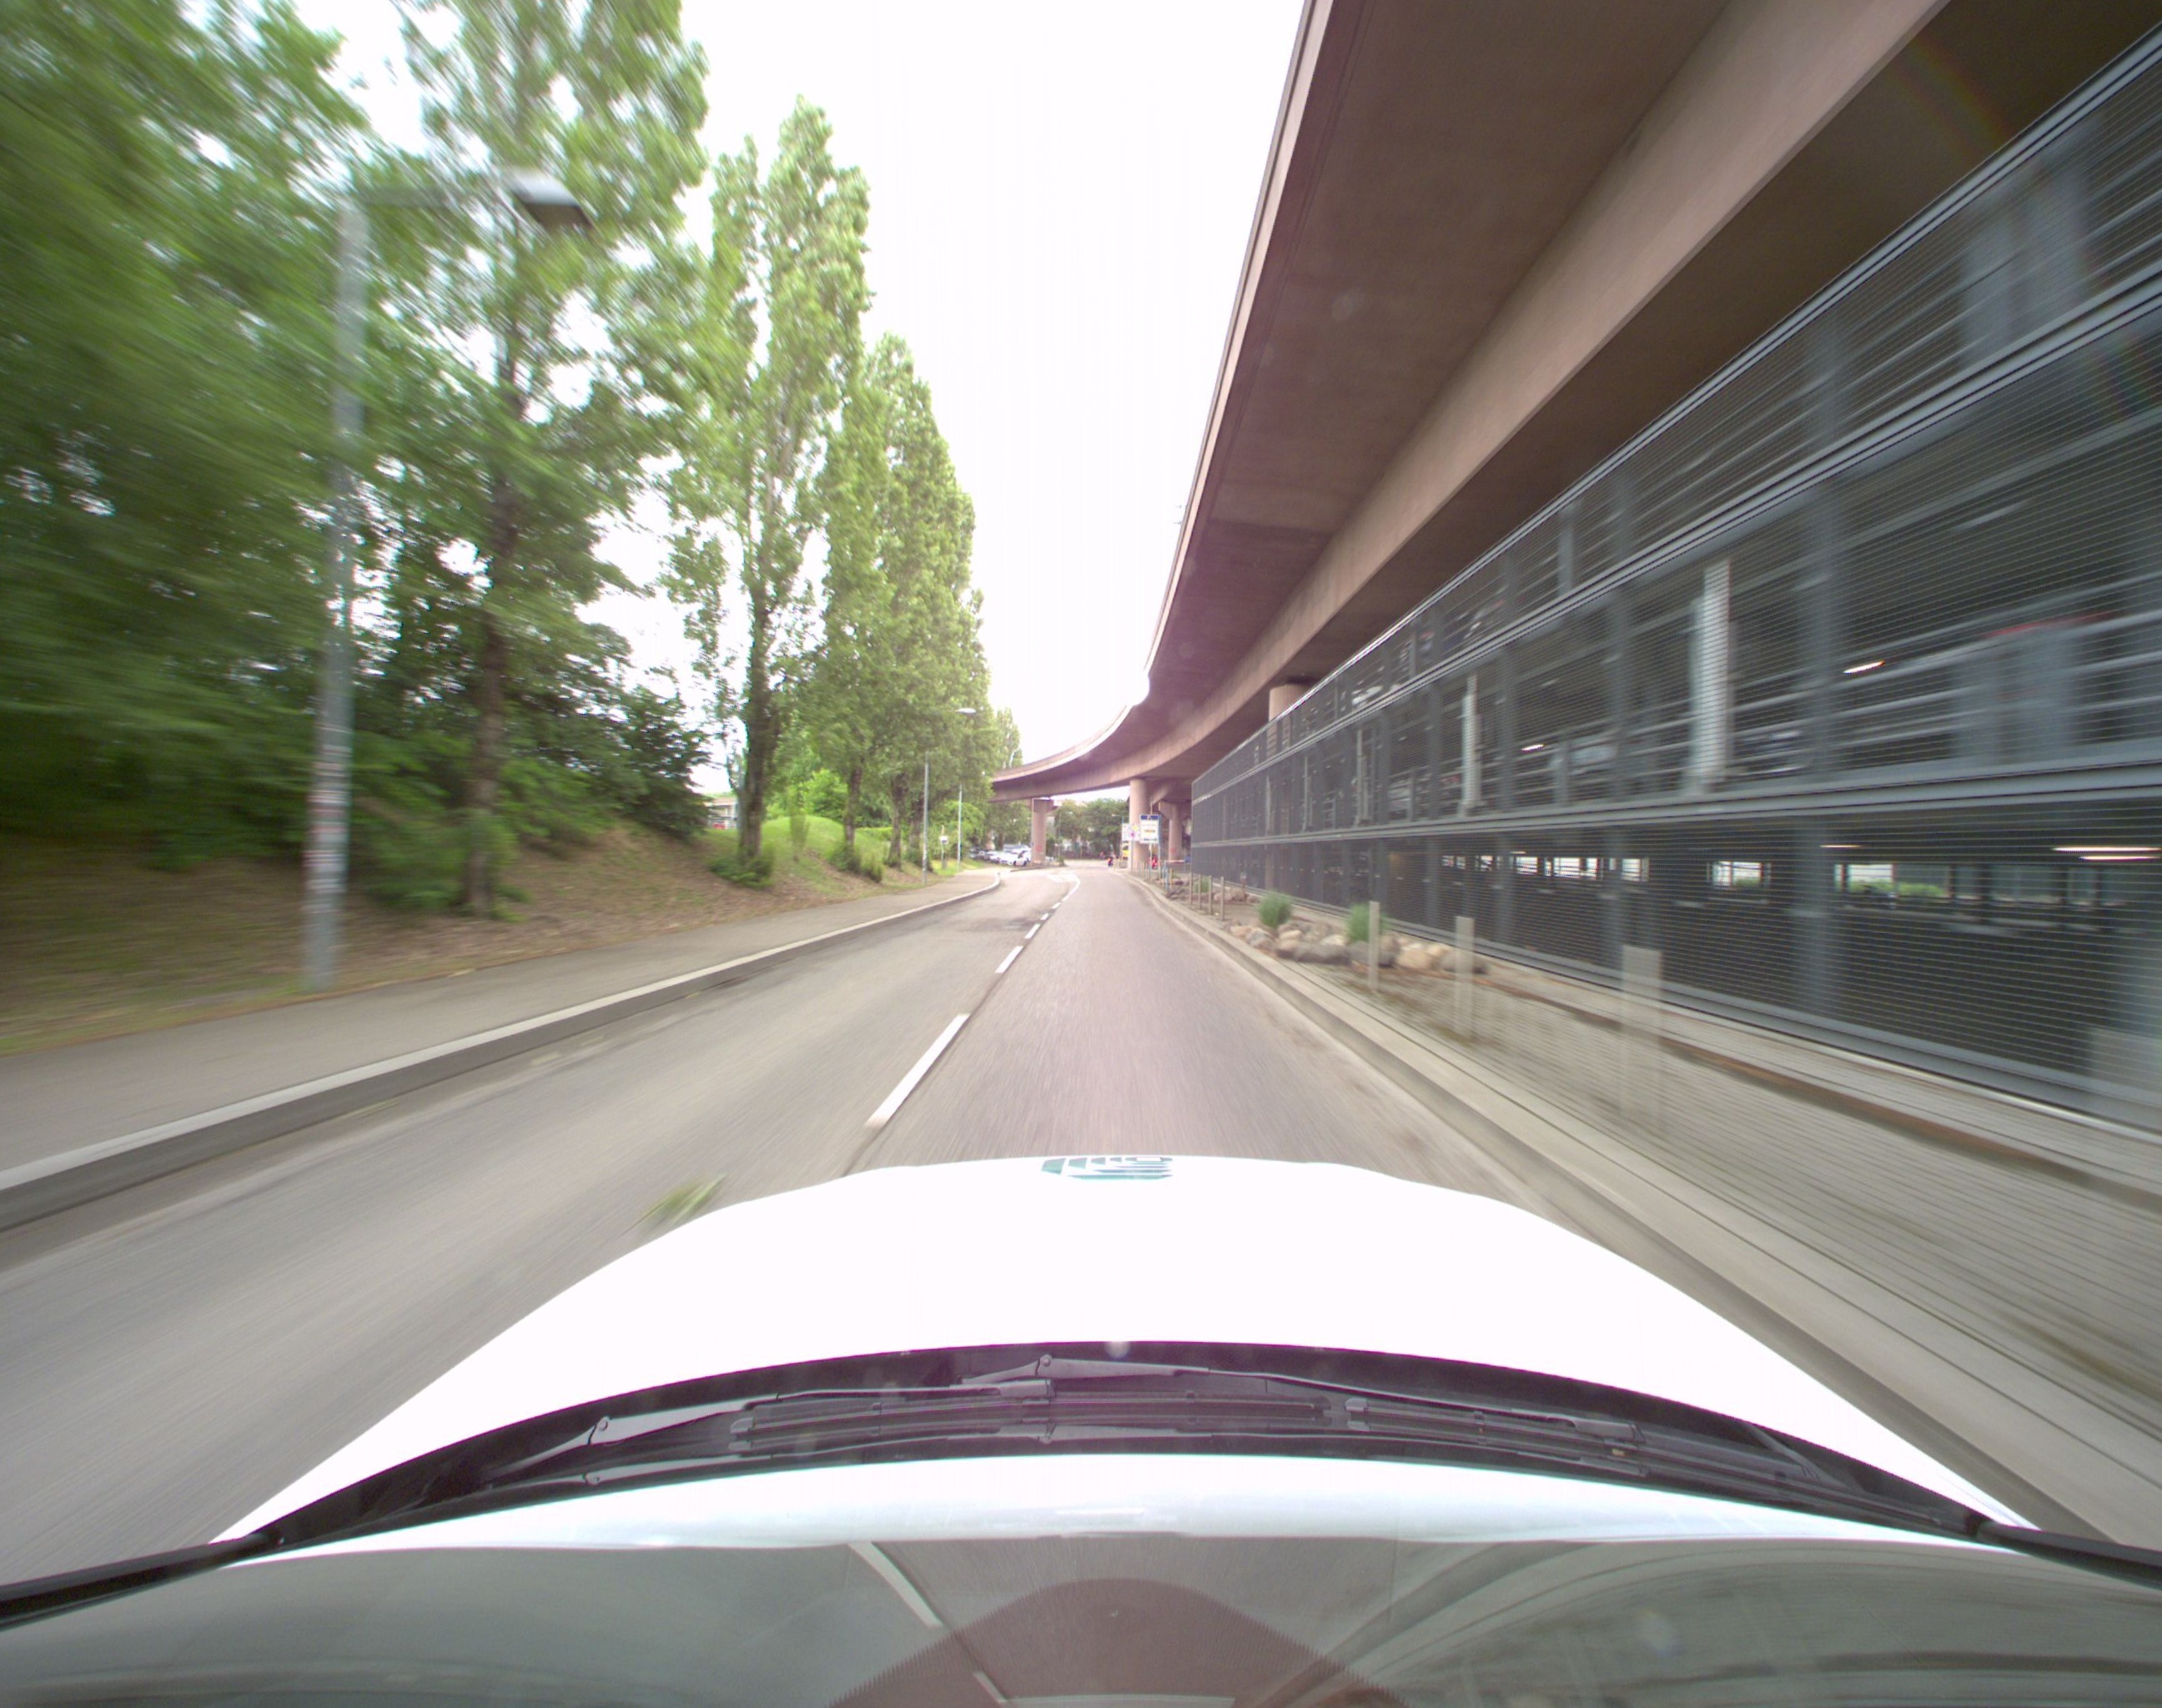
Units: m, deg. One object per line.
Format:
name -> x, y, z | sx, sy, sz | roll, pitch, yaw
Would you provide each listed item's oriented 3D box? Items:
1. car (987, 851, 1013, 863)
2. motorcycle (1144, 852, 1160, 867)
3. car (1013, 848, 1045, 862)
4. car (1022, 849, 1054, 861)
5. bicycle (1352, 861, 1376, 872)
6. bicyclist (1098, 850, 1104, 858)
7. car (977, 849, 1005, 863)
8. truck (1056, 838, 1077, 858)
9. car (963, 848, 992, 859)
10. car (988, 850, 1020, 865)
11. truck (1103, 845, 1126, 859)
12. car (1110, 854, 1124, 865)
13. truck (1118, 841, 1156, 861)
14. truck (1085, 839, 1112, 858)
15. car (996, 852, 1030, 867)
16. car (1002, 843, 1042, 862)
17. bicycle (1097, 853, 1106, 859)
car -> -10.514, 0.405, 105.832 | 1.771, 1.454, 3.768 | 1, 0, 25
motorcycle -> 6.741, 0.548, 77.485 | 0.797, 1.366, 2.118 | 0, 1, -16
car -> -8.213, 0.149, 128.677 | 4.529, 2.111, 1.855 | 2, 0, 9
car -> -6.543, 0.117, 122.753 | 4.350, 1.606, 1.962 | 3, 1, 14
bicycle -> 26.065, 1.136, 74.957 | 2.045, 1.023, 0.396 | 1, 1, 6
bicyclist -> 3.923, 0.027, 159.037 | 0.801, 1.405, 1.056 | -1, 0, -30
car -> -11.949, 0.271, 108.538 | 1.840, 1.691, 4.187 | 1, 0, 25
truck -> -3.639, -1.537, 201.679 | 3.208, 4.779, 8.009 | 0, 2, -15
car -> -15.083, -0.144, 119.054 | 1.840, 1.487, 4.917 | 3, 1, 25
car -> -9.638, 0.449, 102.283 | 1.977, 1.582, 4.423 | 5, 0, 22
truck -> 7.349, -0.383, 178.631 | 2.925, 2.898, 6.516 | -1, 2, -20
car -> 5.648, 0.903, 127.130 | 1.987, 1.679, 4.560 | 1, 0, 0
truck -> 11.069, -0.658, 160.143 | 2.900, 3.480, 8.295 | 4, 5, 43
truck -> 3.746, -1.289, 177.327 | 3.076, 3.867, 7.996 | -1, 2, -20
car -> -8.170, 0.674, 98.128 | 1.977, 1.480, 4.853 | 5, -1, 22
car -> -9.504, -0.233, 131.604 | 6.148, 2.725, 2.370 | 2, 0, 3
bicycle -> 3.961, 0.445, 158.965 | 0.807, 1.097, 2.110 | -1, 0, -30
